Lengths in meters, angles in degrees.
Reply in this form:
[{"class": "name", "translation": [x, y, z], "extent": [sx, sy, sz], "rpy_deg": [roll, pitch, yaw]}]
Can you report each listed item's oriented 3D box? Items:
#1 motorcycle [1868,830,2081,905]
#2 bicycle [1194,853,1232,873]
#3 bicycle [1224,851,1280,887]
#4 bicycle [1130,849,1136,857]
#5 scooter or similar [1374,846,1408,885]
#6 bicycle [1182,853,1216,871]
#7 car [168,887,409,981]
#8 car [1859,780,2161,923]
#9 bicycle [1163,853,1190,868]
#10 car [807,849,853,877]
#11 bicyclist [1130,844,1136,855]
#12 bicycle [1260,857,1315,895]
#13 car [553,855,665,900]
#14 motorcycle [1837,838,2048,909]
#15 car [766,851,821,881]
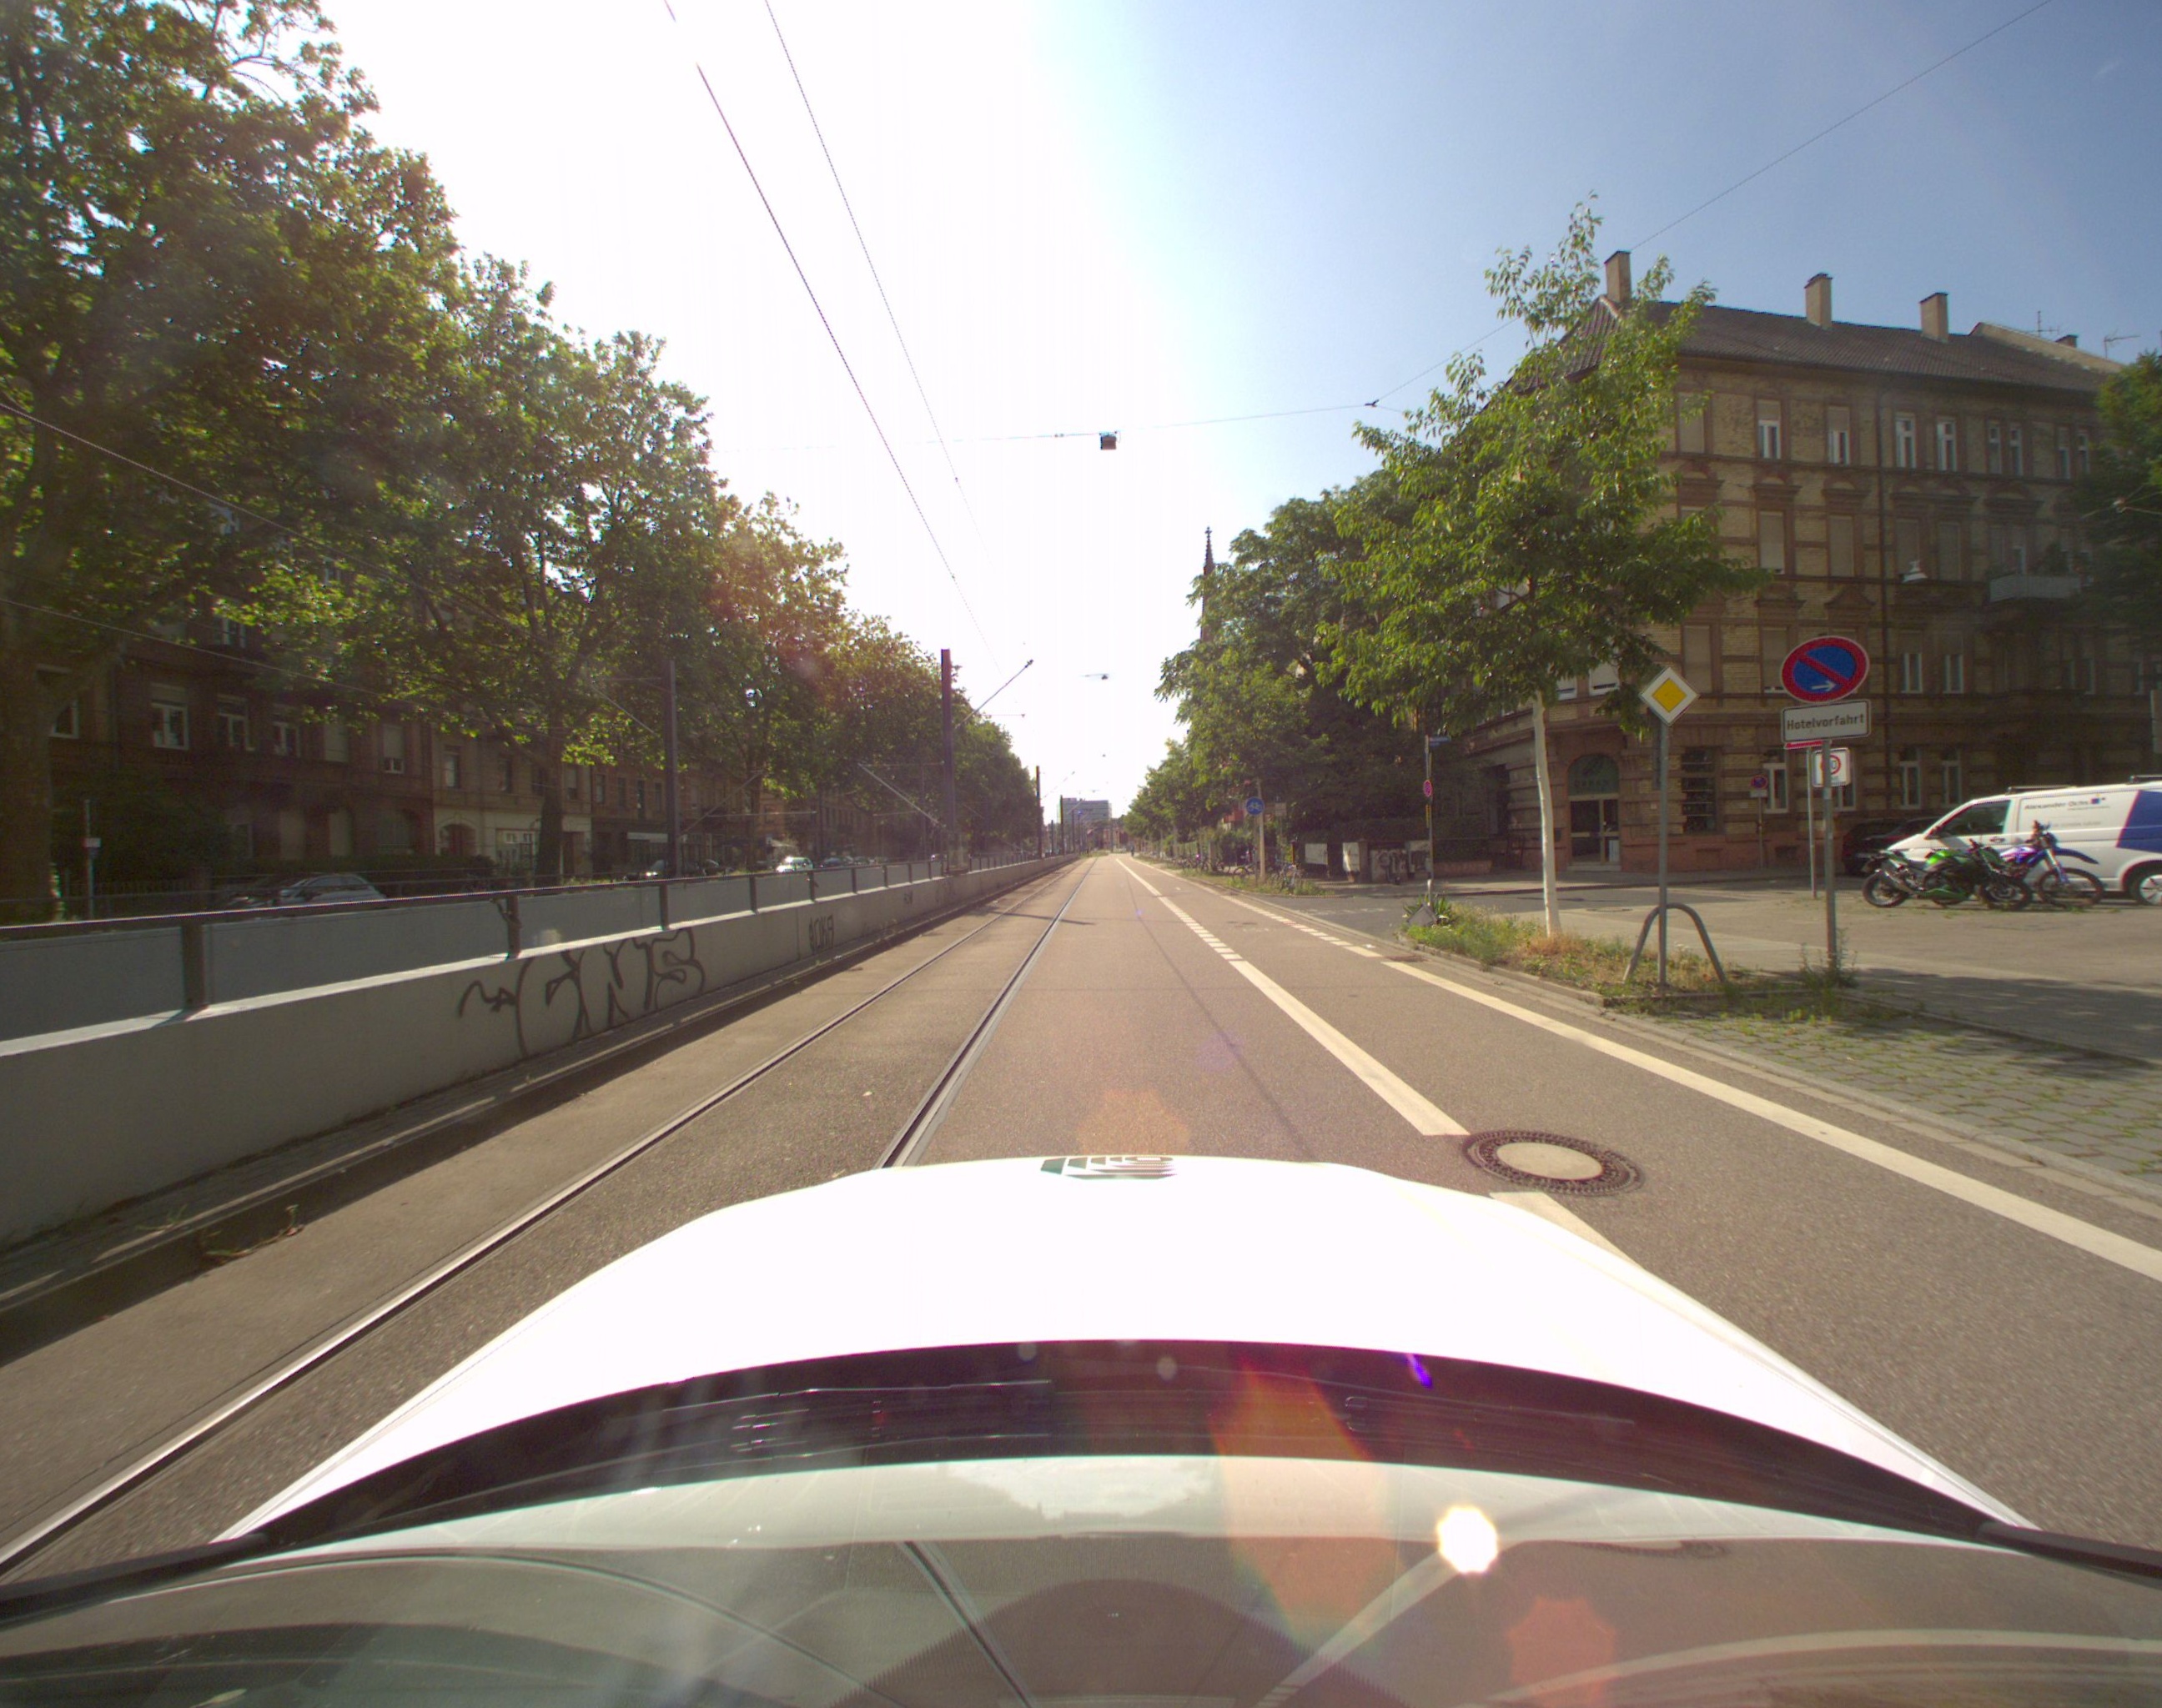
[{"class": "motorcycle", "translation": [14.682, 0.221, 13.493], "extent": [0.634, 1.095, 2.280], "rpy_deg": [-4, 1, -18]}, {"class": "bicycle", "translation": [6.819, 0.472, 42.018], "extent": [1.811, 0.902, 0.651], "rpy_deg": [-4, 1, -2]}, {"class": "bicycle", "translation": [6.165, 0.536, 29.382], "extent": [1.816, 1.145, 0.649], "rpy_deg": [-4, 1, -10]}, {"class": "bicycle", "translation": [8.388, -0.209, 130.922], "extent": [0.796, 1.236, 2.779], "rpy_deg": [-2, 0, 2]}, {"class": "scooter or similar", "translation": [9.680, 0.341, 25.452], "extent": [0.459, 1.158, 1.574], "rpy_deg": [-3, 0, 2]}, {"class": "bicycle", "translation": [6.782, 0.475, 46.957], "extent": [1.811, 0.902, 0.603], "rpy_deg": [-4, 1, -2]}, {"class": "car", "translation": [-18.659, 1.801, 19.445], "extent": [1.709, 1.691, 3.738], "rpy_deg": [-4, 1, 8]}, {"class": "car", "translation": [16.662, -0.031, 13.952], "extent": [1.993, 2.105, 4.471], "rpy_deg": [-2, -1, -9]}, {"class": "bicycle", "translation": [6.796, 0.484, 58.227], "extent": [1.811, 0.902, 0.603], "rpy_deg": [-4, 1, -2]}, {"class": "car", "translation": [-17.596, 0.624, 57.284], "extent": [1.832, 1.727, 4.002], "rpy_deg": [-4, 1, 1]}, {"class": "bicyclist", "translation": [8.375, -0.675, 130.904], "extent": [0.767, 1.730, 1.027], "rpy_deg": [-2, 0, 2]}, {"class": "bicycle", "translation": [6.114, 0.632, 24.205], "extent": [0.652, 1.038, 1.810], "rpy_deg": [-4, 1, -20]}, {"class": "car", "translation": [-19.123, 0.916, 33.204], "extent": [1.985, 1.636, 4.004], "rpy_deg": [-2, 0, 4]}, {"class": "motorcycle", "translation": [13.843, 0.295, 13.210], "extent": [0.633, 1.001, 2.282], "rpy_deg": [-4, 1, -16]}, {"class": "car", "translation": [-18.367, 0.738, 52.216], "extent": [1.832, 1.727, 4.002], "rpy_deg": [-4, 1, 1]}]
